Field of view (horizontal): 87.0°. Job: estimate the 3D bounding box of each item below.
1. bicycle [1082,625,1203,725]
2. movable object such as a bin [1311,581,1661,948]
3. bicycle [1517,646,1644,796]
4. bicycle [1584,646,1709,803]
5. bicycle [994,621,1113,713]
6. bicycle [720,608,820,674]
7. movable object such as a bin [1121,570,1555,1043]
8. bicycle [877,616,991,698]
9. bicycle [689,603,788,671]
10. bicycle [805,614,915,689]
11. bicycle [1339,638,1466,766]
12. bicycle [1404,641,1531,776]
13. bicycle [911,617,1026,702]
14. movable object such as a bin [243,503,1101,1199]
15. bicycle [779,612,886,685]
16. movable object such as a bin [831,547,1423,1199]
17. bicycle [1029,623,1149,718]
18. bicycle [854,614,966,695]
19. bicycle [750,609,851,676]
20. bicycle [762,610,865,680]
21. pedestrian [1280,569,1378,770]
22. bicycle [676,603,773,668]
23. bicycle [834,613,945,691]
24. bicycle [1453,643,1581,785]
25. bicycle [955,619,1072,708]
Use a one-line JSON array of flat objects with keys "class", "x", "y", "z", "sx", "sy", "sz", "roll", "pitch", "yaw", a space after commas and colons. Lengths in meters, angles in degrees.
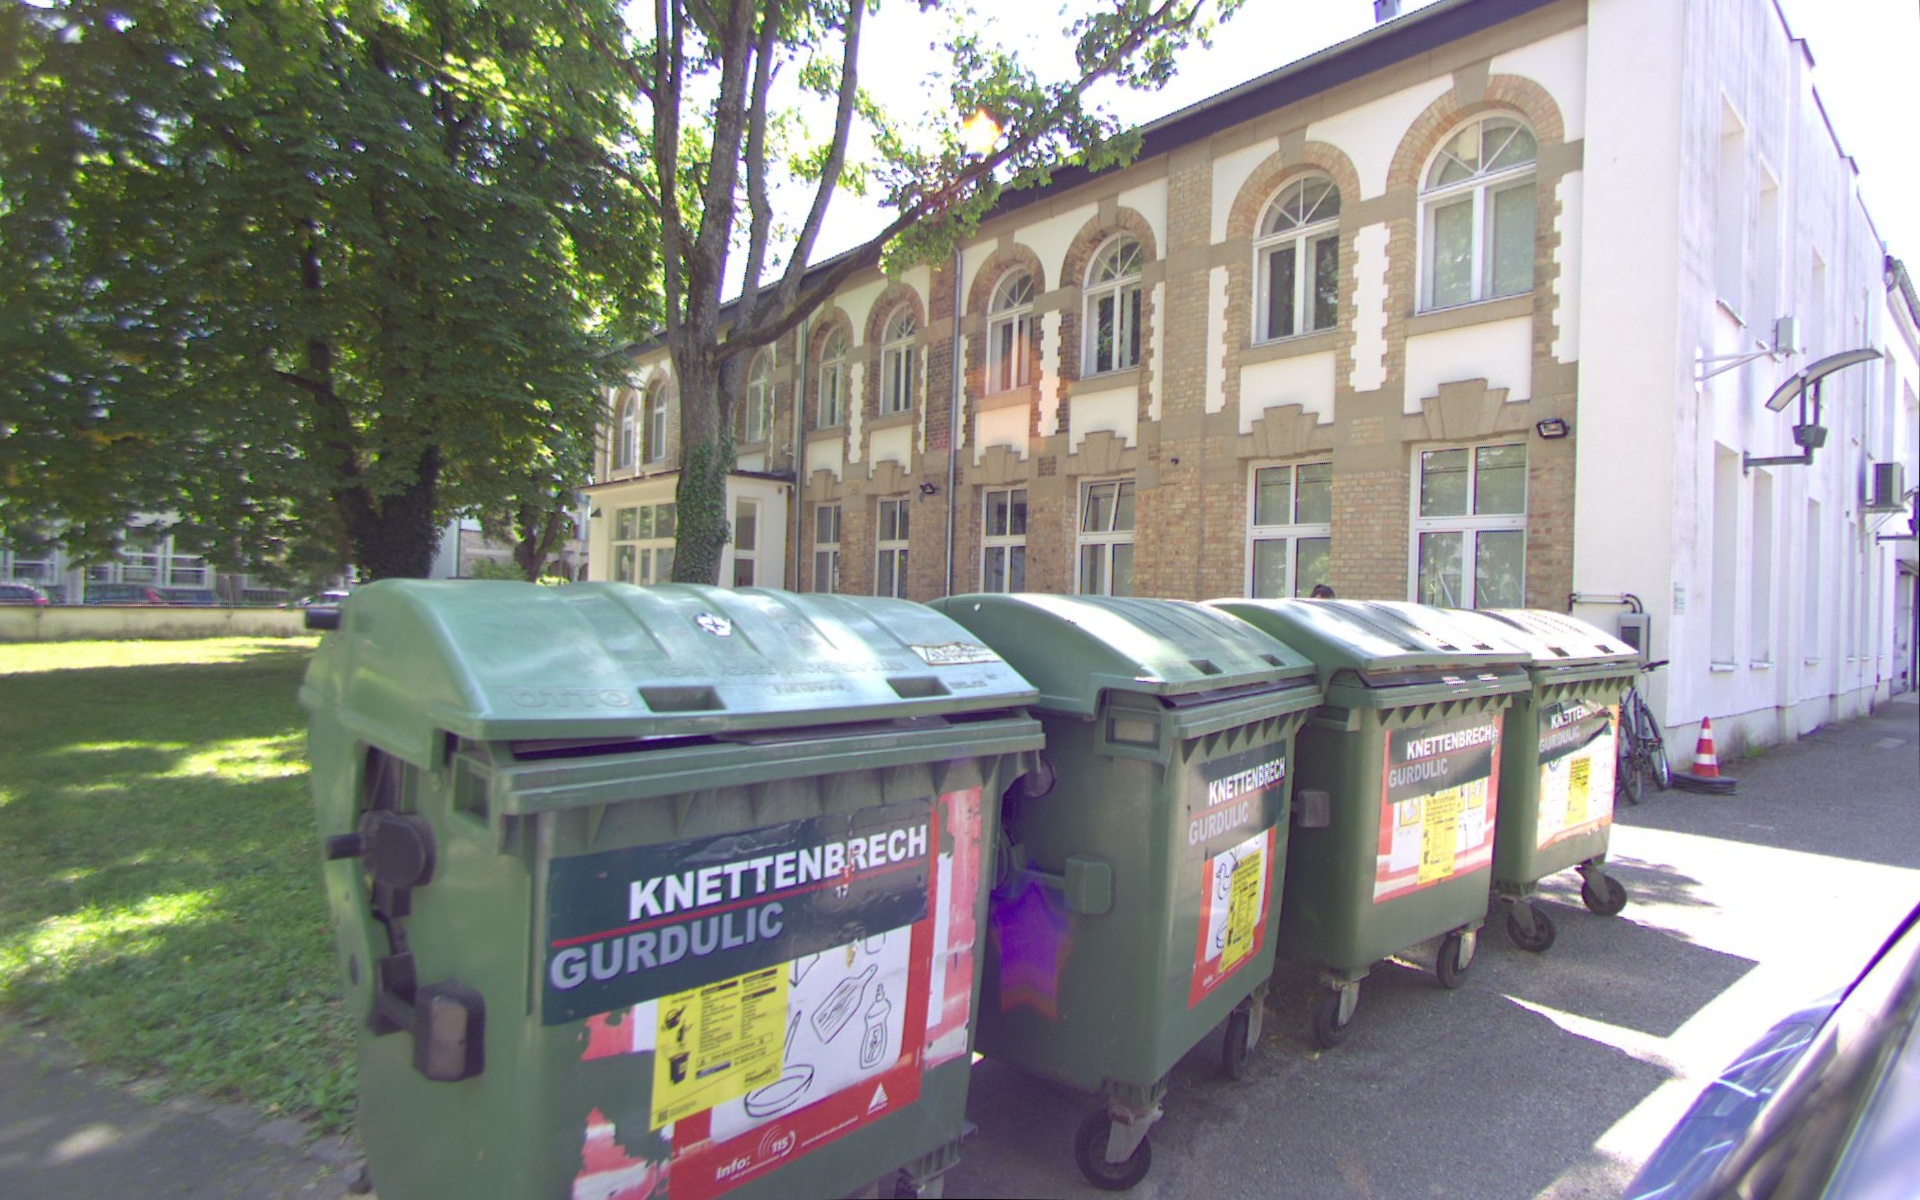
[{"class": "bicycle", "x": 2.234, "y": 0.875, "z": 12.259, "sx": 1.794, "sy": 1.115, "sz": 0.405, "roll": 1, "pitch": 0, "yaw": -42}, {"class": "movable object such as a bin", "x": 2.576, "y": 0.665, "z": 4.946, "sx": 1.353, "sy": 1.476, "sz": 1.077, "roll": 1, "pitch": 0, "yaw": -40}, {"class": "bicycle", "x": 5.321, "y": 0.976, "z": 8.636, "sx": 1.794, "sy": 1.115, "sz": 0.405, "roll": 1, "pitch": 0, "yaw": -42}, {"class": "bicycle", "x": 5.666, "y": 0.964, "z": 8.314, "sx": 1.794, "sy": 1.115, "sz": 0.405, "roll": 1, "pitch": 0, "yaw": -42}, {"class": "bicycle", "x": 1.243, "y": 0.844, "z": 13.182, "sx": 1.794, "sy": 1.115, "sz": 0.405, "roll": 1, "pitch": 0, "yaw": -42}, {"class": "bicycle", "x": -3.371, "y": 0.720, "z": 18.069, "sx": 1.794, "sy": 1.115, "sz": 0.405, "roll": 1, "pitch": 0, "yaw": -42}, {"class": "movable object such as a bin", "x": 1.506, "y": 0.644, "z": 4.016, "sx": 1.353, "sy": 1.476, "sz": 1.077, "roll": 1, "pitch": 0, "yaw": -40}, {"class": "bicycle", "x": -0.347, "y": 0.795, "z": 14.605, "sx": 1.794, "sy": 1.115, "sz": 0.405, "roll": 1, "pitch": 0, "yaw": -42}, {"class": "bicycle", "x": -4.039, "y": 0.657, "z": 18.547, "sx": 1.795, "sy": 1.115, "sz": 0.405, "roll": -2, "pitch": 2, "yaw": -42}, {"class": "bicycle", "x": -1.539, "y": 0.781, "z": 15.808, "sx": 1.794, "sy": 1.115, "sz": 0.405, "roll": 1, "pitch": 0, "yaw": -42}, {"class": "bicycle", "x": 4.346, "y": 0.944, "z": 9.865, "sx": 1.794, "sy": 1.115, "sz": 0.405, "roll": 1, "pitch": 0, "yaw": -42}, {"class": "bicycle", "x": 4.739, "y": 0.957, "z": 9.397, "sx": 1.794, "sy": 1.115, "sz": 0.405, "roll": 1, "pitch": 0, "yaw": -42}, {"class": "bicycle", "x": 0.147, "y": 0.810, "z": 14.181, "sx": 1.794, "sy": 1.115, "sz": 0.405, "roll": 1, "pitch": 0, "yaw": -42}, {"class": "movable object such as a bin", "x": -0.580, "y": 0.619, "z": 2.080, "sx": 1.353, "sy": 1.476, "sz": 1.077, "roll": 1, "pitch": 0, "yaw": -40}, {"class": "bicycle", "x": -2.041, "y": 0.765, "z": 16.383, "sx": 1.794, "sy": 1.115, "sz": 0.405, "roll": 1, "pitch": 0, "yaw": -42}, {"class": "movable object such as a bin", "x": 0.499, "y": 0.626, "z": 2.968, "sx": 1.353, "sy": 1.476, "sz": 1.077, "roll": 1, "pitch": 0, "yaw": -40}, {"class": "bicycle", "x": 1.662, "y": 0.857, "z": 12.788, "sx": 1.794, "sy": 1.115, "sz": 0.405, "roll": 1, "pitch": 0, "yaw": -42}, {"class": "bicycle", "x": -0.715, "y": 0.783, "z": 14.995, "sx": 1.794, "sy": 1.115, "sz": 0.405, "roll": 1, "pitch": 0, "yaw": -42}, {"class": "bicycle", "x": -2.783, "y": 0.737, "z": 17.799, "sx": 1.794, "sy": 1.115, "sz": 0.405, "roll": 1, "pitch": 0, "yaw": -42}, {"class": "bicycle", "x": -2.471, "y": 0.748, "z": 17.225, "sx": 1.794, "sy": 1.115, "sz": 0.405, "roll": 1, "pitch": 0, "yaw": -42}, {"class": "pedestrian", "x": 3.408, "y": 0.607, "z": 9.341, "sx": 0.677, "sy": 1.771, "sz": 0.552, "roll": 1, "pitch": 0, "yaw": -40}, {"class": "bicycle", "x": -4.444, "y": 0.643, "z": 19.178, "sx": 1.795, "sy": 1.115, "sz": 0.405, "roll": -2, "pitch": 2, "yaw": -42}, {"class": "bicycle", "x": -1.050, "y": 0.772, "z": 15.397, "sx": 1.794, "sy": 1.115, "sz": 0.405, "roll": 1, "pitch": 0, "yaw": -42}, {"class": "bicycle", "x": 5.008, "y": 0.966, "z": 9.048, "sx": 1.794, "sy": 1.115, "sz": 0.405, "roll": 1, "pitch": 0, "yaw": -42}, {"class": "bicycle", "x": 0.747, "y": 0.828, "z": 13.694, "sx": 1.794, "sy": 1.115, "sz": 0.405, "roll": 1, "pitch": 0, "yaw": -42}]
